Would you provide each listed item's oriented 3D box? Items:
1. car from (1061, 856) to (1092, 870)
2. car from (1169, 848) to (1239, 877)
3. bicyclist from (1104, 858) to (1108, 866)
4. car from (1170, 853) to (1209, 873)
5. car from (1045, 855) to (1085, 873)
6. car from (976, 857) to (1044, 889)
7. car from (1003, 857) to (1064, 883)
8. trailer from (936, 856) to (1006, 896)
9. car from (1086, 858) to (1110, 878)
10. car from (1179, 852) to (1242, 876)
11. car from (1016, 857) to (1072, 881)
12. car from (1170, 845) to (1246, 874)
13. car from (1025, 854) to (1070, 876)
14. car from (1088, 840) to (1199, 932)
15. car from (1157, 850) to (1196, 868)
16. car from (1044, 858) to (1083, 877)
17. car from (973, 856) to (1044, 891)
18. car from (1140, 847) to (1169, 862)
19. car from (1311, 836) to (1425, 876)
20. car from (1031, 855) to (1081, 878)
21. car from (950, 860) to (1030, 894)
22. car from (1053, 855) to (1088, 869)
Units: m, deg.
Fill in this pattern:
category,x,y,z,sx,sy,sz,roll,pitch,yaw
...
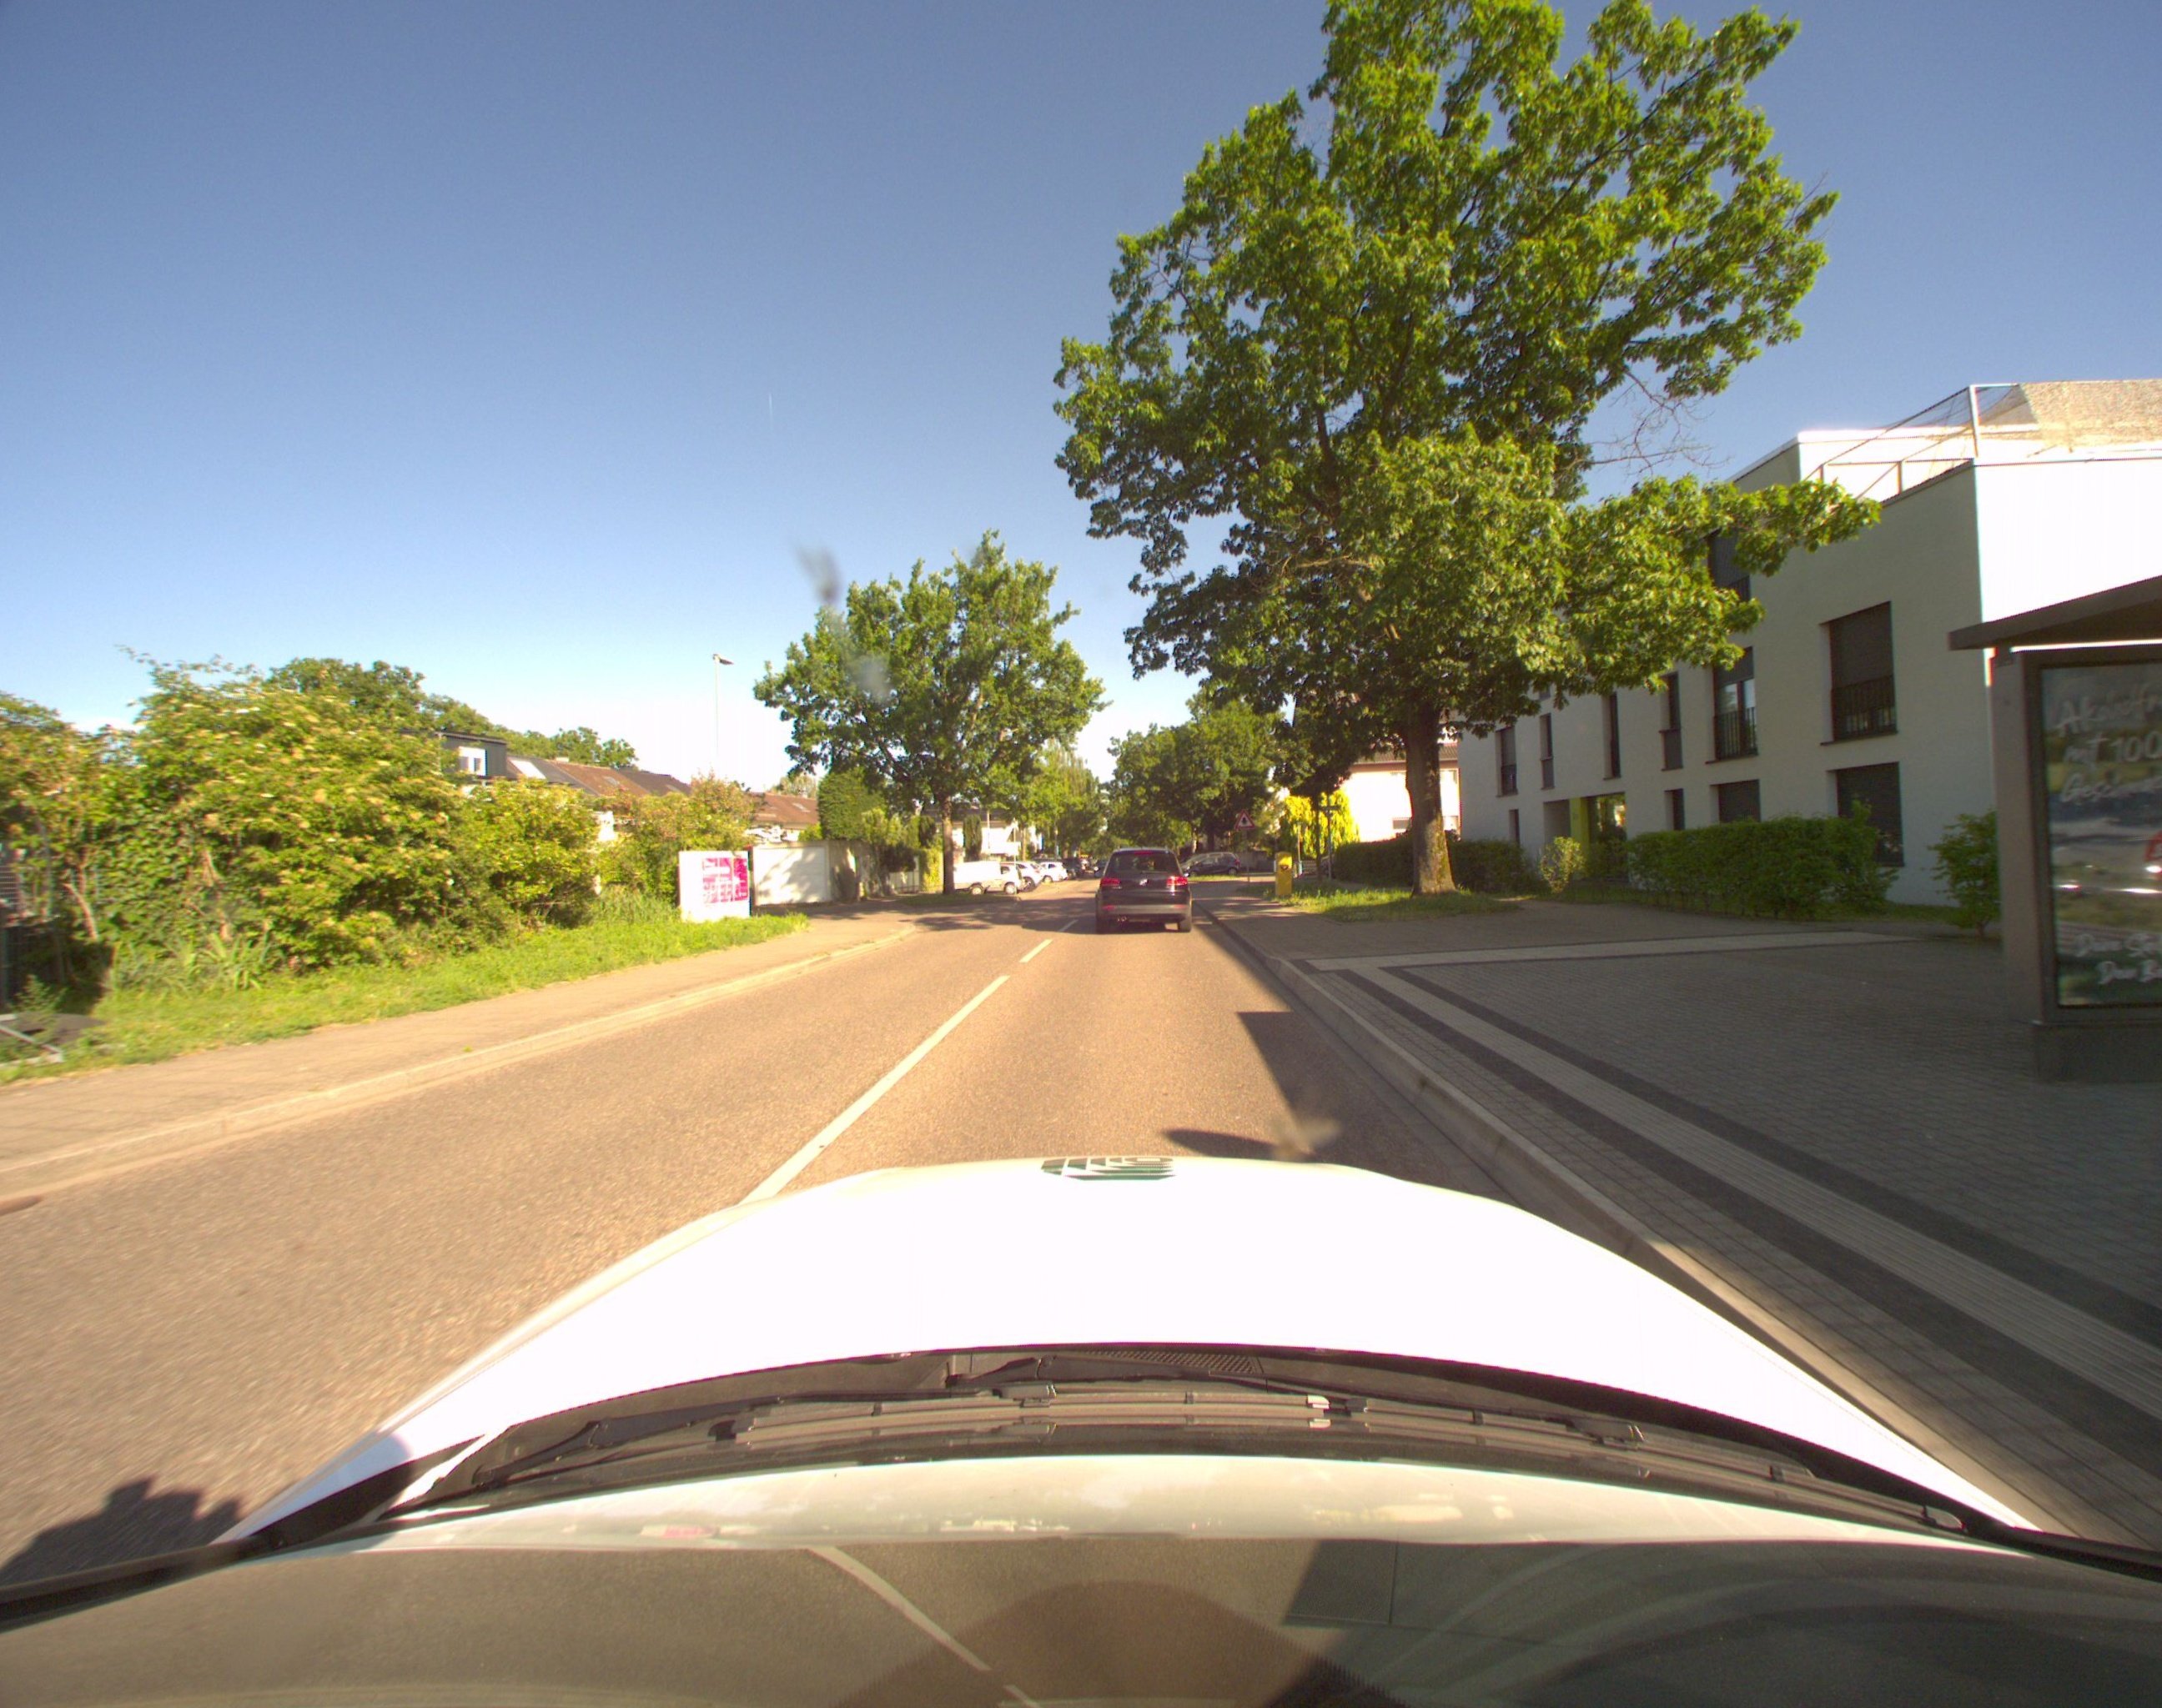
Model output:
category,x,y,z,sx,sy,sz,roll,pitch,yaw
car,-0.611,1.238,109.466,3.980,1.684,1.920,-2,-1,-5
car,8.560,0.568,56.796,4.614,1.809,1.825,-2,-1,3
bicyclist,4.282,1.338,139.012,0.698,1.346,0.506,-2,-3,-1
car,9.158,0.773,68.642,3.037,1.507,1.245,-2,-1,-3
car,-1.660,1.025,84.009,3.971,1.720,1.822,-2,-2,2
car,-3.879,1.046,44.834,3.539,1.557,1.851,-2,-1,-2
car,-3.272,1.109,56.837,3.969,1.670,2.002,-2,0,4
trailer,-4.973,1.001,37.037,2.958,1.656,1.396,-2,-1,-1
car,1.501,1.198,70.870,1.902,1.555,4.002,-4,0,2
car,8.583,0.656,54.292,3.970,1.368,1.848,-2,-1,3
car,-2.803,1.118,62.165,3.968,1.640,2.002,-2,0,4
car,9.274,0.374,59.809,5.238,1.945,2.001,-2,0,3
car,-3.033,0.977,74.420,3.975,1.836,1.637,-2,-1,-1
car,1.155,0.576,17.026,1.923,1.654,4.512,0,0,-1
car,9.929,0.531,85.003,3.969,1.775,1.791,-2,0,3
car,-1.500,1.197,71.473,3.361,1.490,1.643,-2,-1,-1
car,-3.691,0.988,42.024,3.541,1.613,1.851,-2,-1,-3
car,10.477,0.060,116.692,3.969,2.014,2.002,-2,-2,3
car,15.036,0.113,42.895,5.223,1.847,2.071,-2,-2,0
car,-2.032,1.015,66.898,3.975,1.731,1.999,-2,-1,-1
car,-4.343,1.078,39.372,3.534,1.477,1.810,-2,-1,3
car,-1.257,0.996,97.842,3.969,1.499,2.002,-2,-2,3
